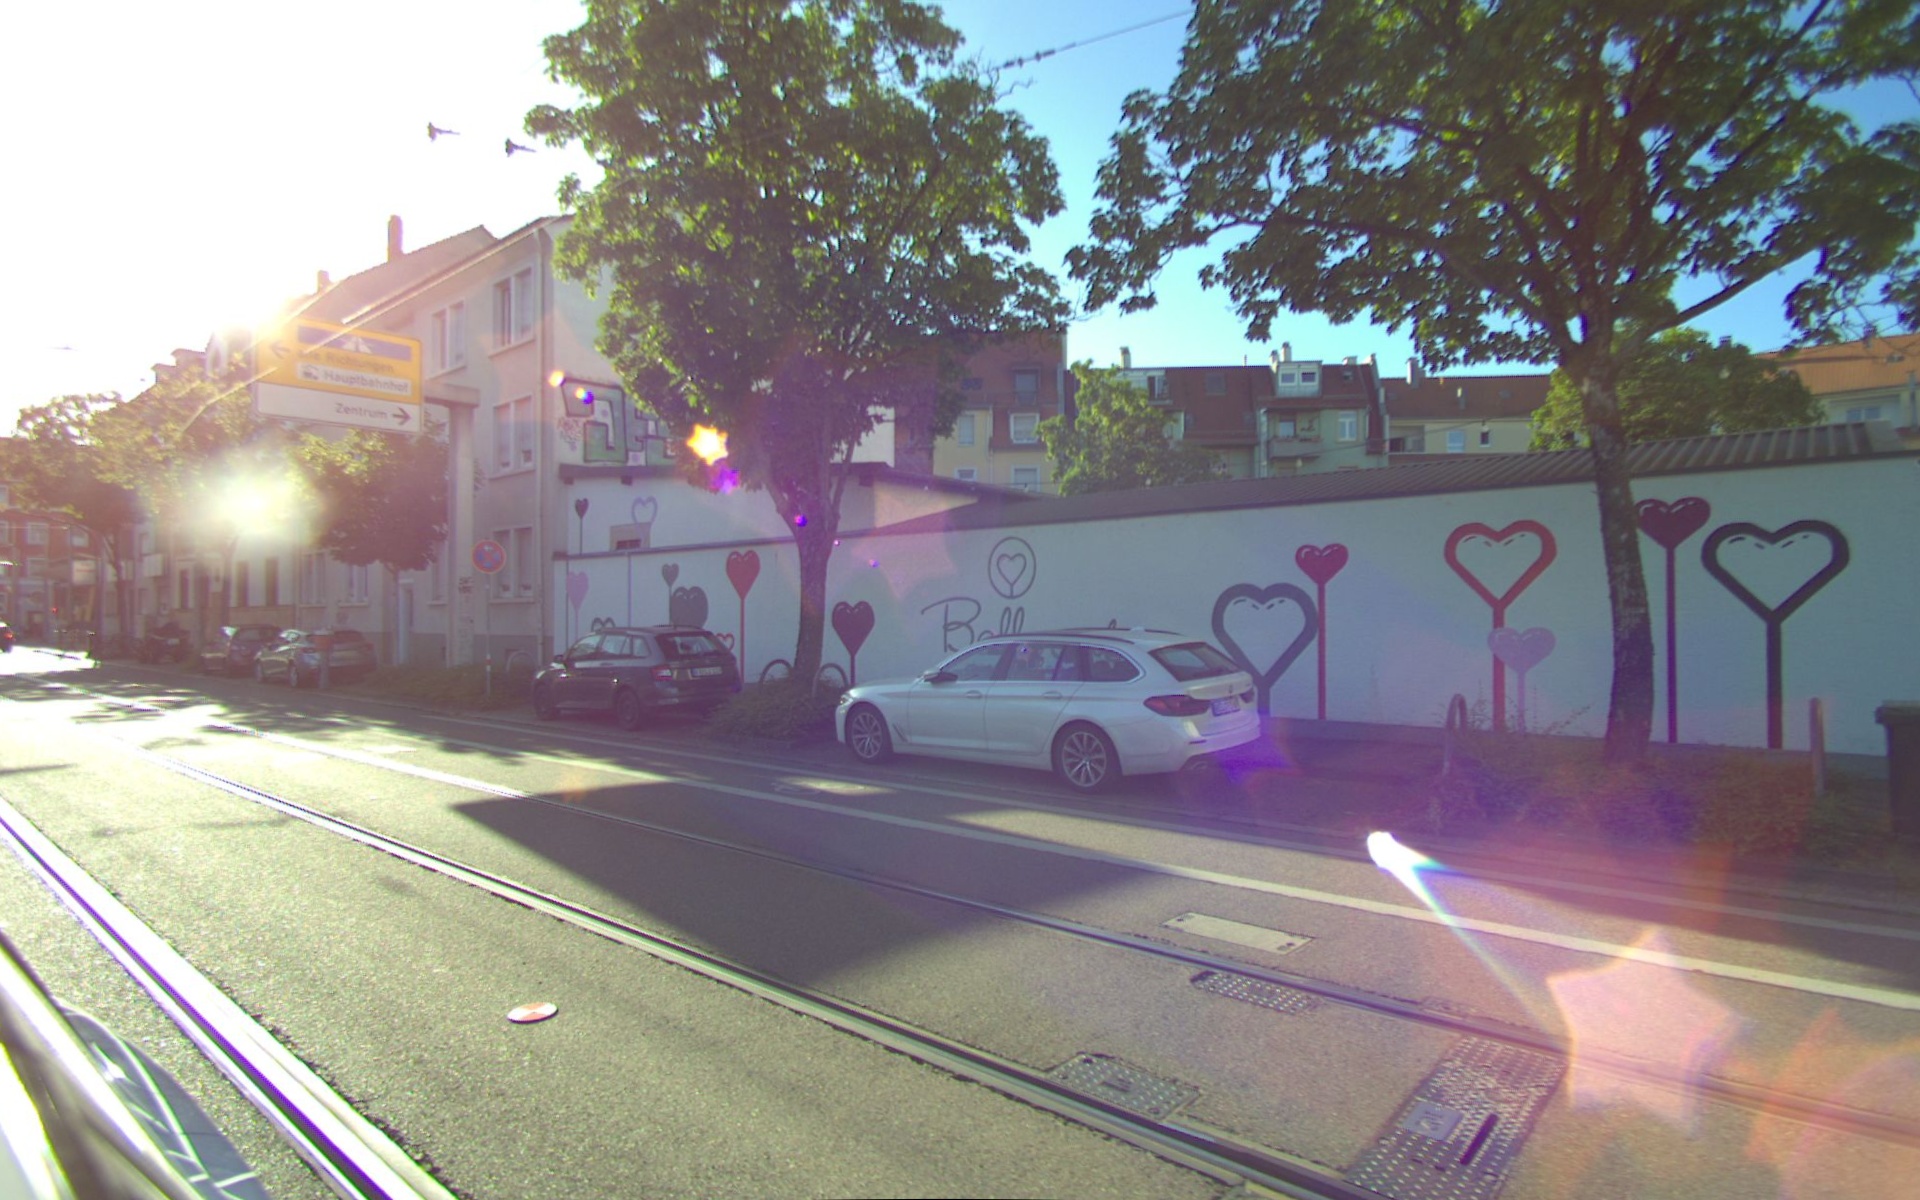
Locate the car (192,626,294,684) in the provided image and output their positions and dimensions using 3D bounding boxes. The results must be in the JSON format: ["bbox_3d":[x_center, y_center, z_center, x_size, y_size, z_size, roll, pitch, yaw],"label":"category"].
[{"bbox_3d":[-20.953,1.540,29.518,3.998,1.516,1.556,-1,0,41],"label":"car"}]

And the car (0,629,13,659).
[{"bbox_3d":[-49.619,2.198,51.332,4.743,1.474,1.748,-1,-2,40],"label":"car"}]

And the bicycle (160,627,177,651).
[{"bbox_3d":[-36.106,1.761,46.151,1.661,1.050,0.300,-1,-1,41],"label":"bicycle"}]

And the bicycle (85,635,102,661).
[{"bbox_3d":[-36.546,2.027,42.668,1.661,1.050,0.300,-1,-1,41],"label":"bicycle"}]

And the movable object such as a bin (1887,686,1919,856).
[{"bbox_3d":[6.248,1.073,6.276,0.702,0.966,0.576,-1,4,41],"label":"movable object such as a bin"}]

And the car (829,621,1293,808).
[{"bbox_3d":[0.875,1.000,10.650,4.658,1.502,1.845,-1,0,41],"label":"car"}]

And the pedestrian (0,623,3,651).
[{"bbox_3d":[-61.913,2.354,64.973,0.583,1.787,0.632,-1,-1,41],"label":"pedestrian"}]

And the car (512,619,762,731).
[{"bbox_3d":[-5.154,1.057,15.858,4.303,1.497,1.754,-1,0,41],"label":"car"}]

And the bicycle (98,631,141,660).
[{"bbox_3d":[-35.010,1.882,42.173,0.409,1.178,1.326,-1,-1,41],"label":"bicycle"}]

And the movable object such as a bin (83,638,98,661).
[{"bbox_3d":[-37.574,2.145,43.725,0.582,0.942,0.420,-1,-1,41],"label":"movable object such as a bin"}]

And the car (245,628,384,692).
[{"bbox_3d":[-16.513,1.458,25.805,4.291,1.439,1.854,-1,0,41],"label":"car"}]

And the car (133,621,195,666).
[{"bbox_3d":[-29.306,1.611,37.238,2.545,1.514,1.341,-5,-3,41],"label":"car"}]
